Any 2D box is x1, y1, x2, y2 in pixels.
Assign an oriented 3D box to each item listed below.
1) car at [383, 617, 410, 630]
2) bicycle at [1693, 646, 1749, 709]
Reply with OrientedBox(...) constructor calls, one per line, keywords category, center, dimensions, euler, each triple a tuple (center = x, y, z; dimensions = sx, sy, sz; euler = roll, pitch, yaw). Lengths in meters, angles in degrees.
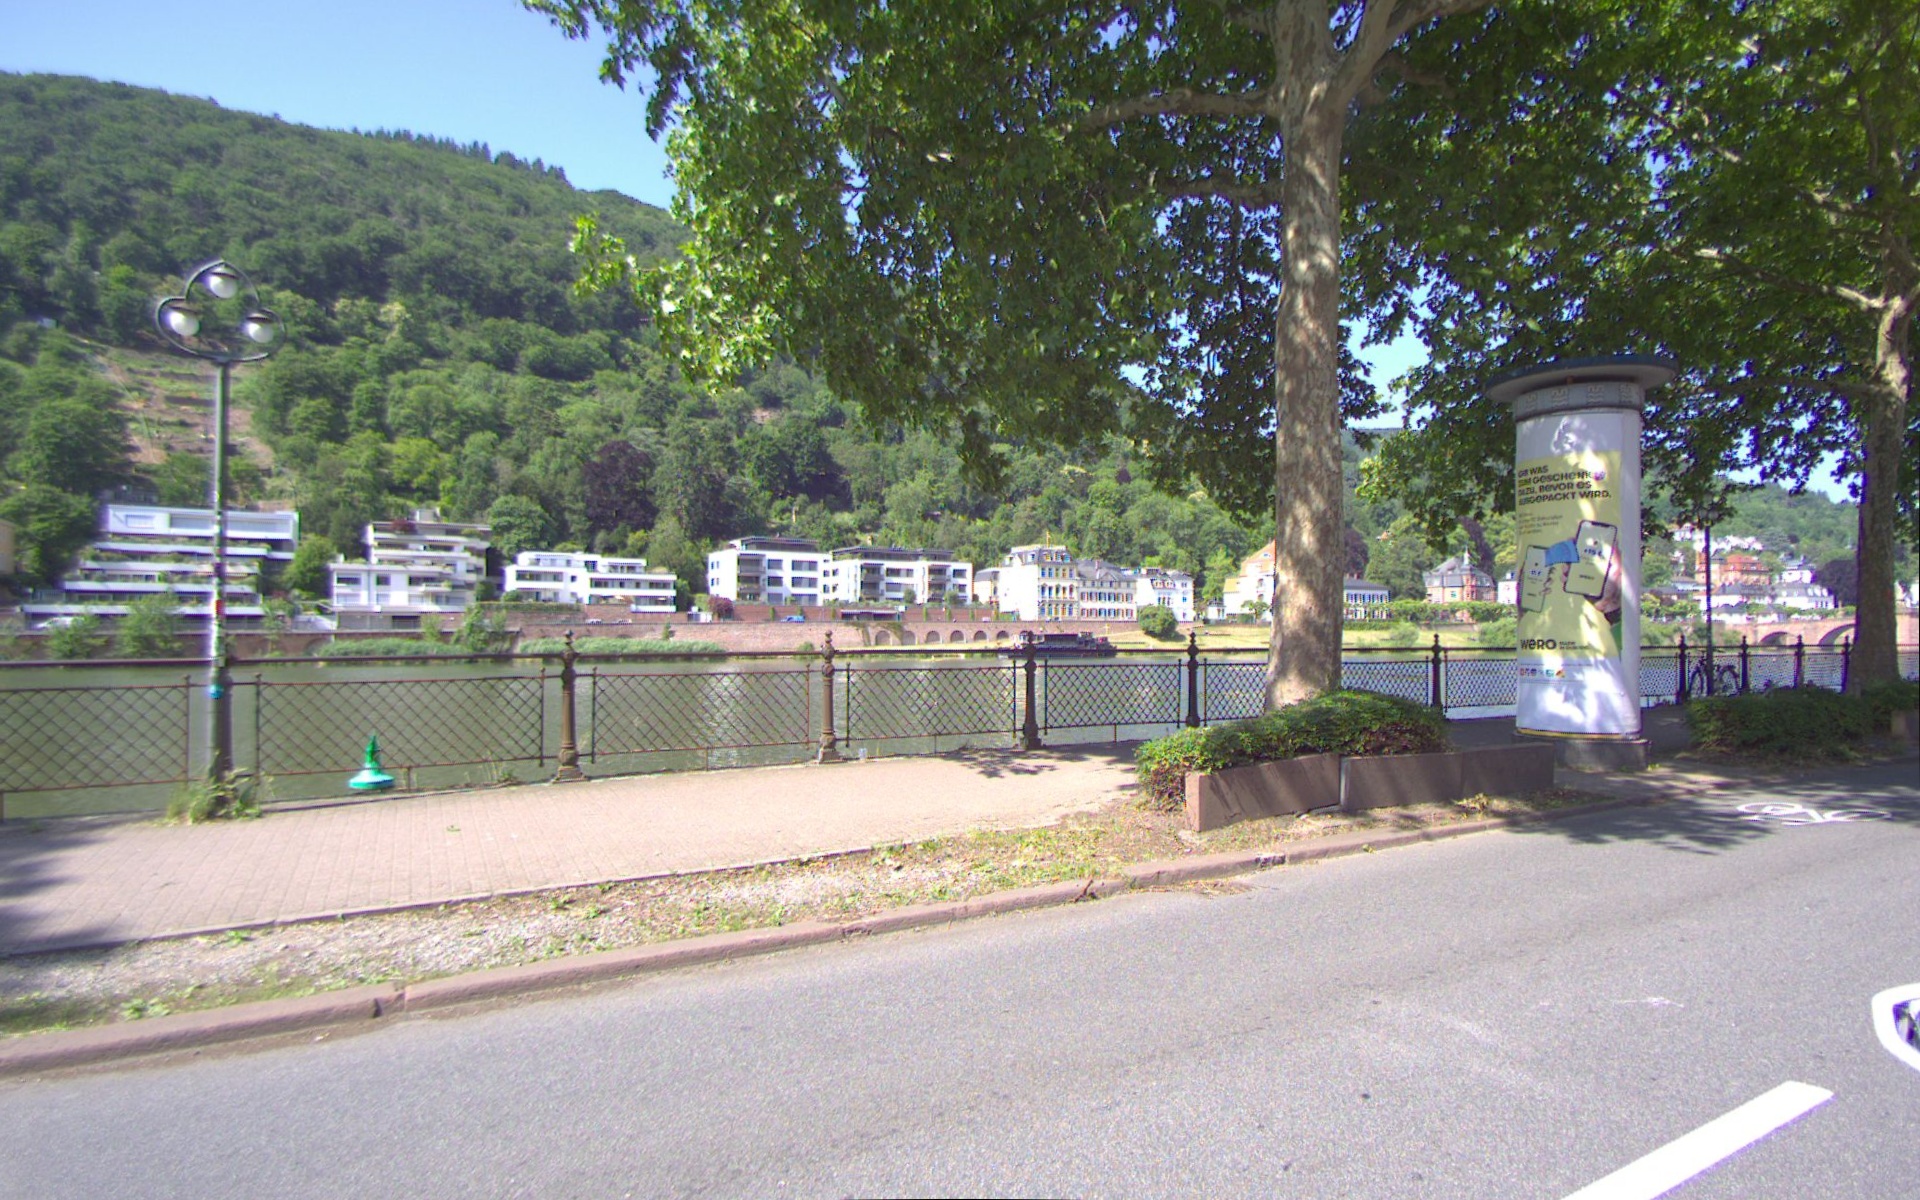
OrientedBox(category="car", center=(-95.412, 3.942, 170.099), dimensions=(3.953, 2.040, 1.984), euler=(1, 0, -30))
OrientedBox(category="bicycle", center=(14.371, 1.450, 18.968), dimensions=(1.281, 1.106, 0.357), euler=(1, 2, -31))
